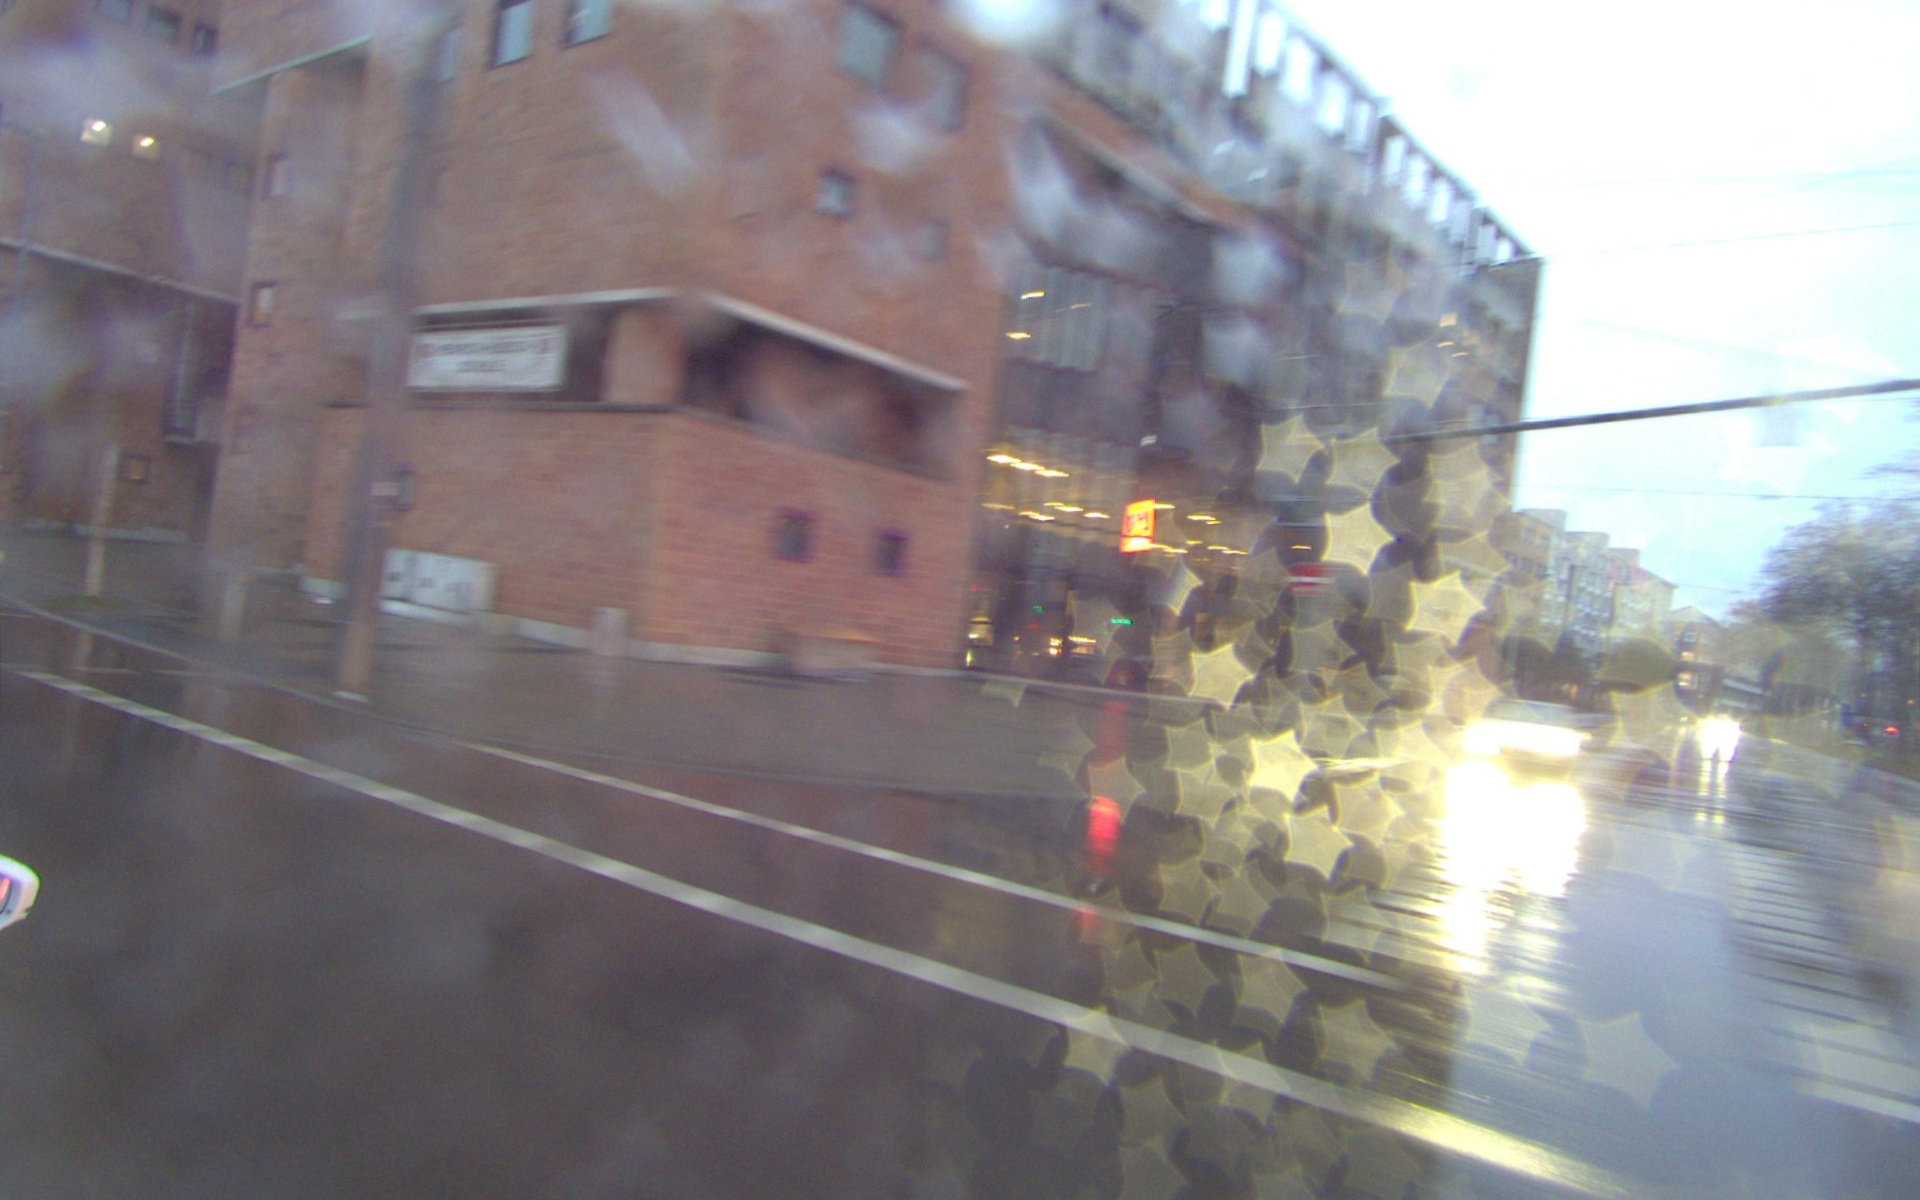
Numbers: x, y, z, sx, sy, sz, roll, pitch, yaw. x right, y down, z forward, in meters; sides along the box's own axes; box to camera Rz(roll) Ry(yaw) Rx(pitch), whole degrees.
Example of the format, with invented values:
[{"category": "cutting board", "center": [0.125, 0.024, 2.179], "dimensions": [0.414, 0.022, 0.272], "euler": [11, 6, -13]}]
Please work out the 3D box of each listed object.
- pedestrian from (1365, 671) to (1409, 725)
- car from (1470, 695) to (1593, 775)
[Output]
[{"category": "pedestrian", "center": [12.437, 2.854, 29.301], "dimensions": [0.732, 1.406, 0.730], "euler": [7, 0, -34]}, {"category": "car", "center": [12.627, 2.913, 22.130], "dimensions": [1.786, 1.326, 3.982], "euler": [7, -1, 36]}]
